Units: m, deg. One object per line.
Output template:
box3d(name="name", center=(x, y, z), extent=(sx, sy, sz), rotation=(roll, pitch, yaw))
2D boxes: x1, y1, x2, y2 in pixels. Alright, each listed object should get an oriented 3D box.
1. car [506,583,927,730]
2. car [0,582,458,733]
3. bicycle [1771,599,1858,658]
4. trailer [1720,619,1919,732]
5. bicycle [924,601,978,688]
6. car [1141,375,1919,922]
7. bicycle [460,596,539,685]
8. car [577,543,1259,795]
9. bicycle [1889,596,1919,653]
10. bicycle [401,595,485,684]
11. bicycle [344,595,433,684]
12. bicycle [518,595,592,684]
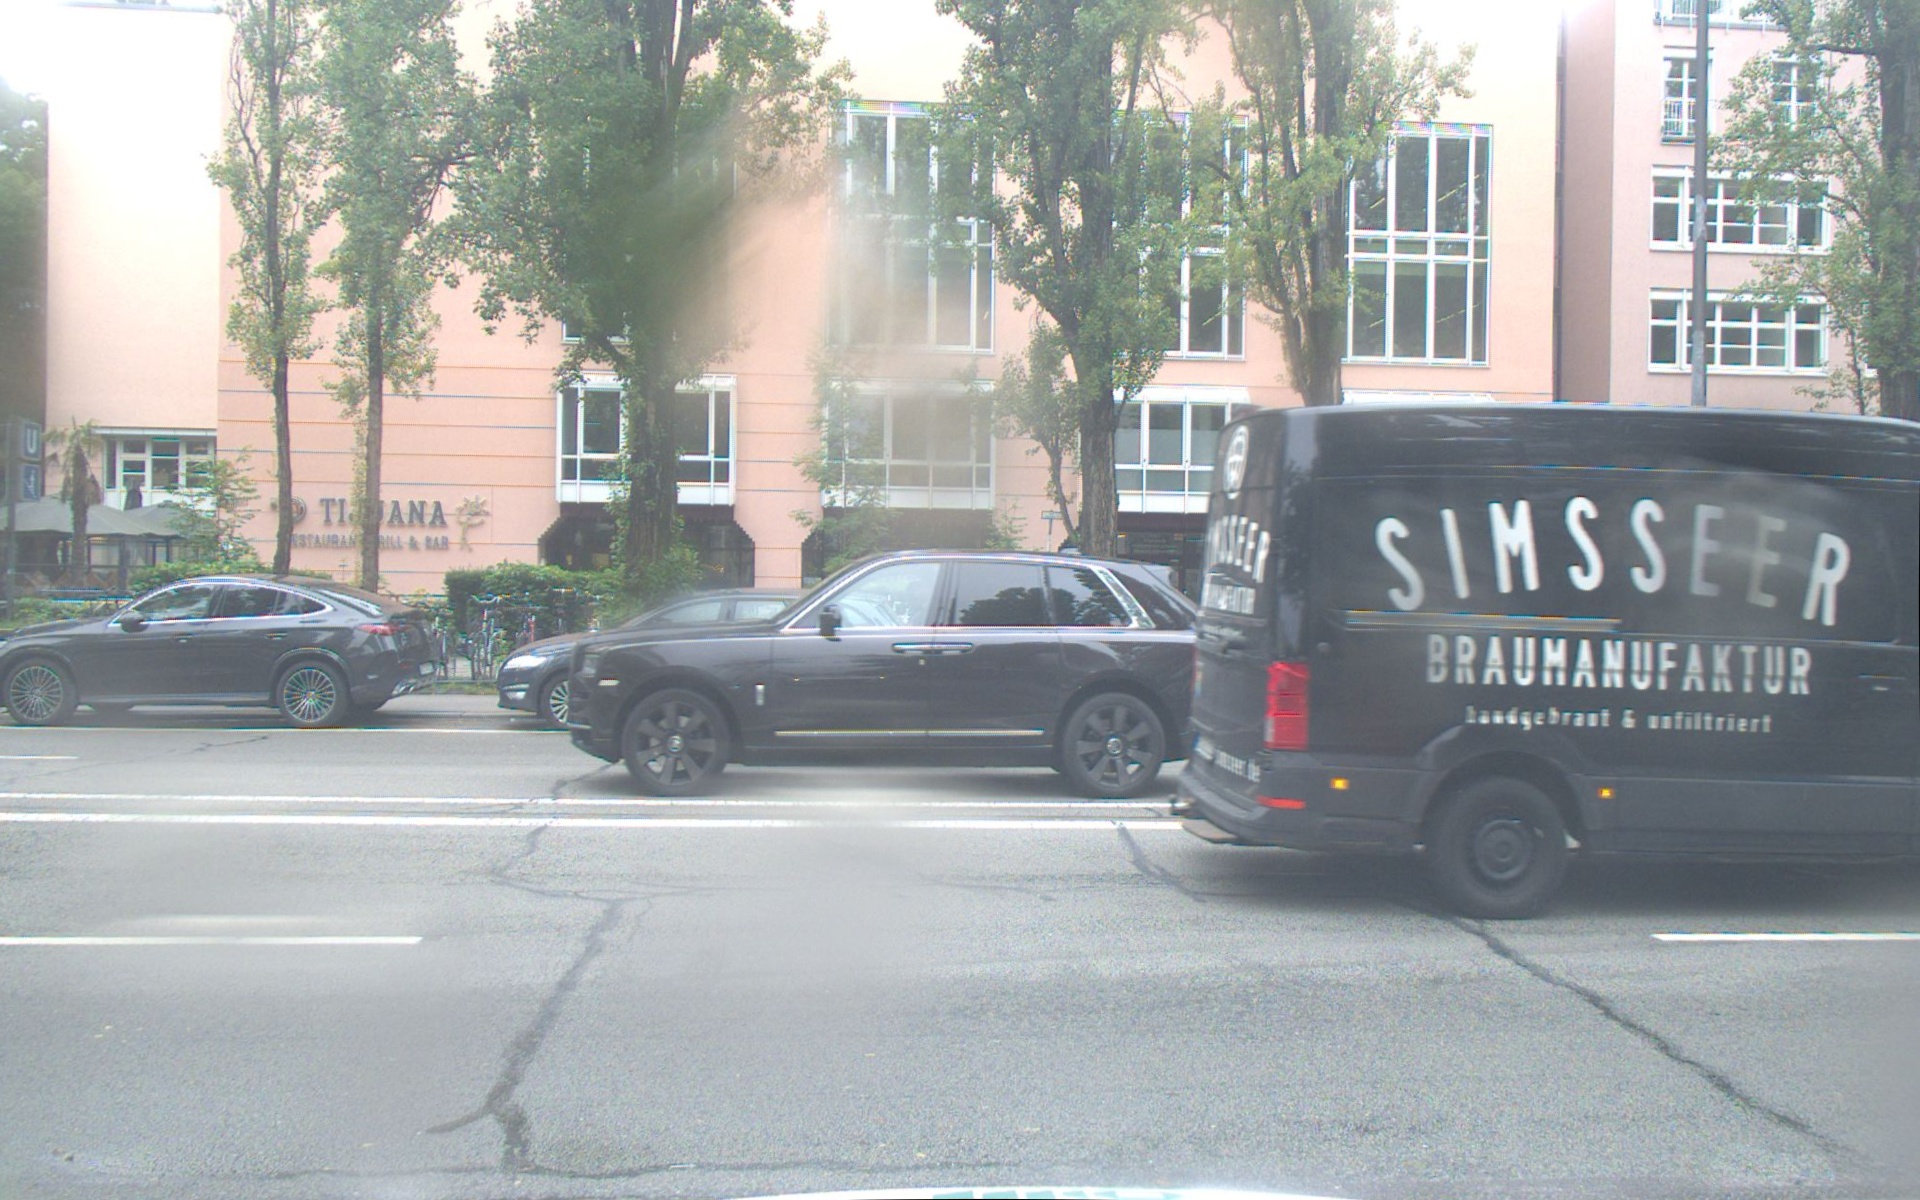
box3d(name="car", center=(-2.683, 0.612, 18.825), extent=(4.518, 1.555, 1.792), rotation=(0, 1, -5))
box3d(name="car", center=(-8.031, 0.608, 18.337), extent=(4.411, 1.555, 1.792), rotation=(0, 1, -5))
box3d(name="bicycle", center=(17.614, 0.568, 34.150), extent=(0.660, 1.144, 1.988), rotation=(0, 1, -4))
box3d(name="trailer", center=(12.756, 0.891, 20.191), extent=(5.899, 1.220, 2.403), rotation=(0, 1, -4))
box3d(name="bicycle", center=(-0.146, 0.606, 23.378), extent=(0.660, 1.144, 1.740), rotation=(0, 1, -4))
box3d(name="car", center=(4.075, 0.213, 9.168), extent=(5.797, 2.600, 2.081), rotation=(0, 2, -6))
box3d(name="bicycle", center=(-6.358, 0.531, 22.913), extent=(0.660, 1.144, 1.988), rotation=(0, 1, -4))
box3d(name="car", center=(-0.347, 0.528, 12.978), extent=(4.951, 1.779, 1.997), rotation=(1, -1, -7))
box3d(name="bicycle", center=(20.171, 0.516, 34.176), extent=(0.660, 1.144, 2.105), rotation=(0, 1, -4))
box3d(name="bicycle", center=(-7.126, 0.521, 22.872), extent=(0.660, 1.144, 1.988), rotation=(0, 1, -4))
box3d(name="bicycle", center=(-7.844, 0.522, 22.785), extent=(0.660, 1.144, 1.988), rotation=(0, 1, -4))
box3d(name="bicycle", center=(-5.604, 0.524, 22.983), extent=(0.660, 1.144, 1.988), rotation=(0, 1, -4))
